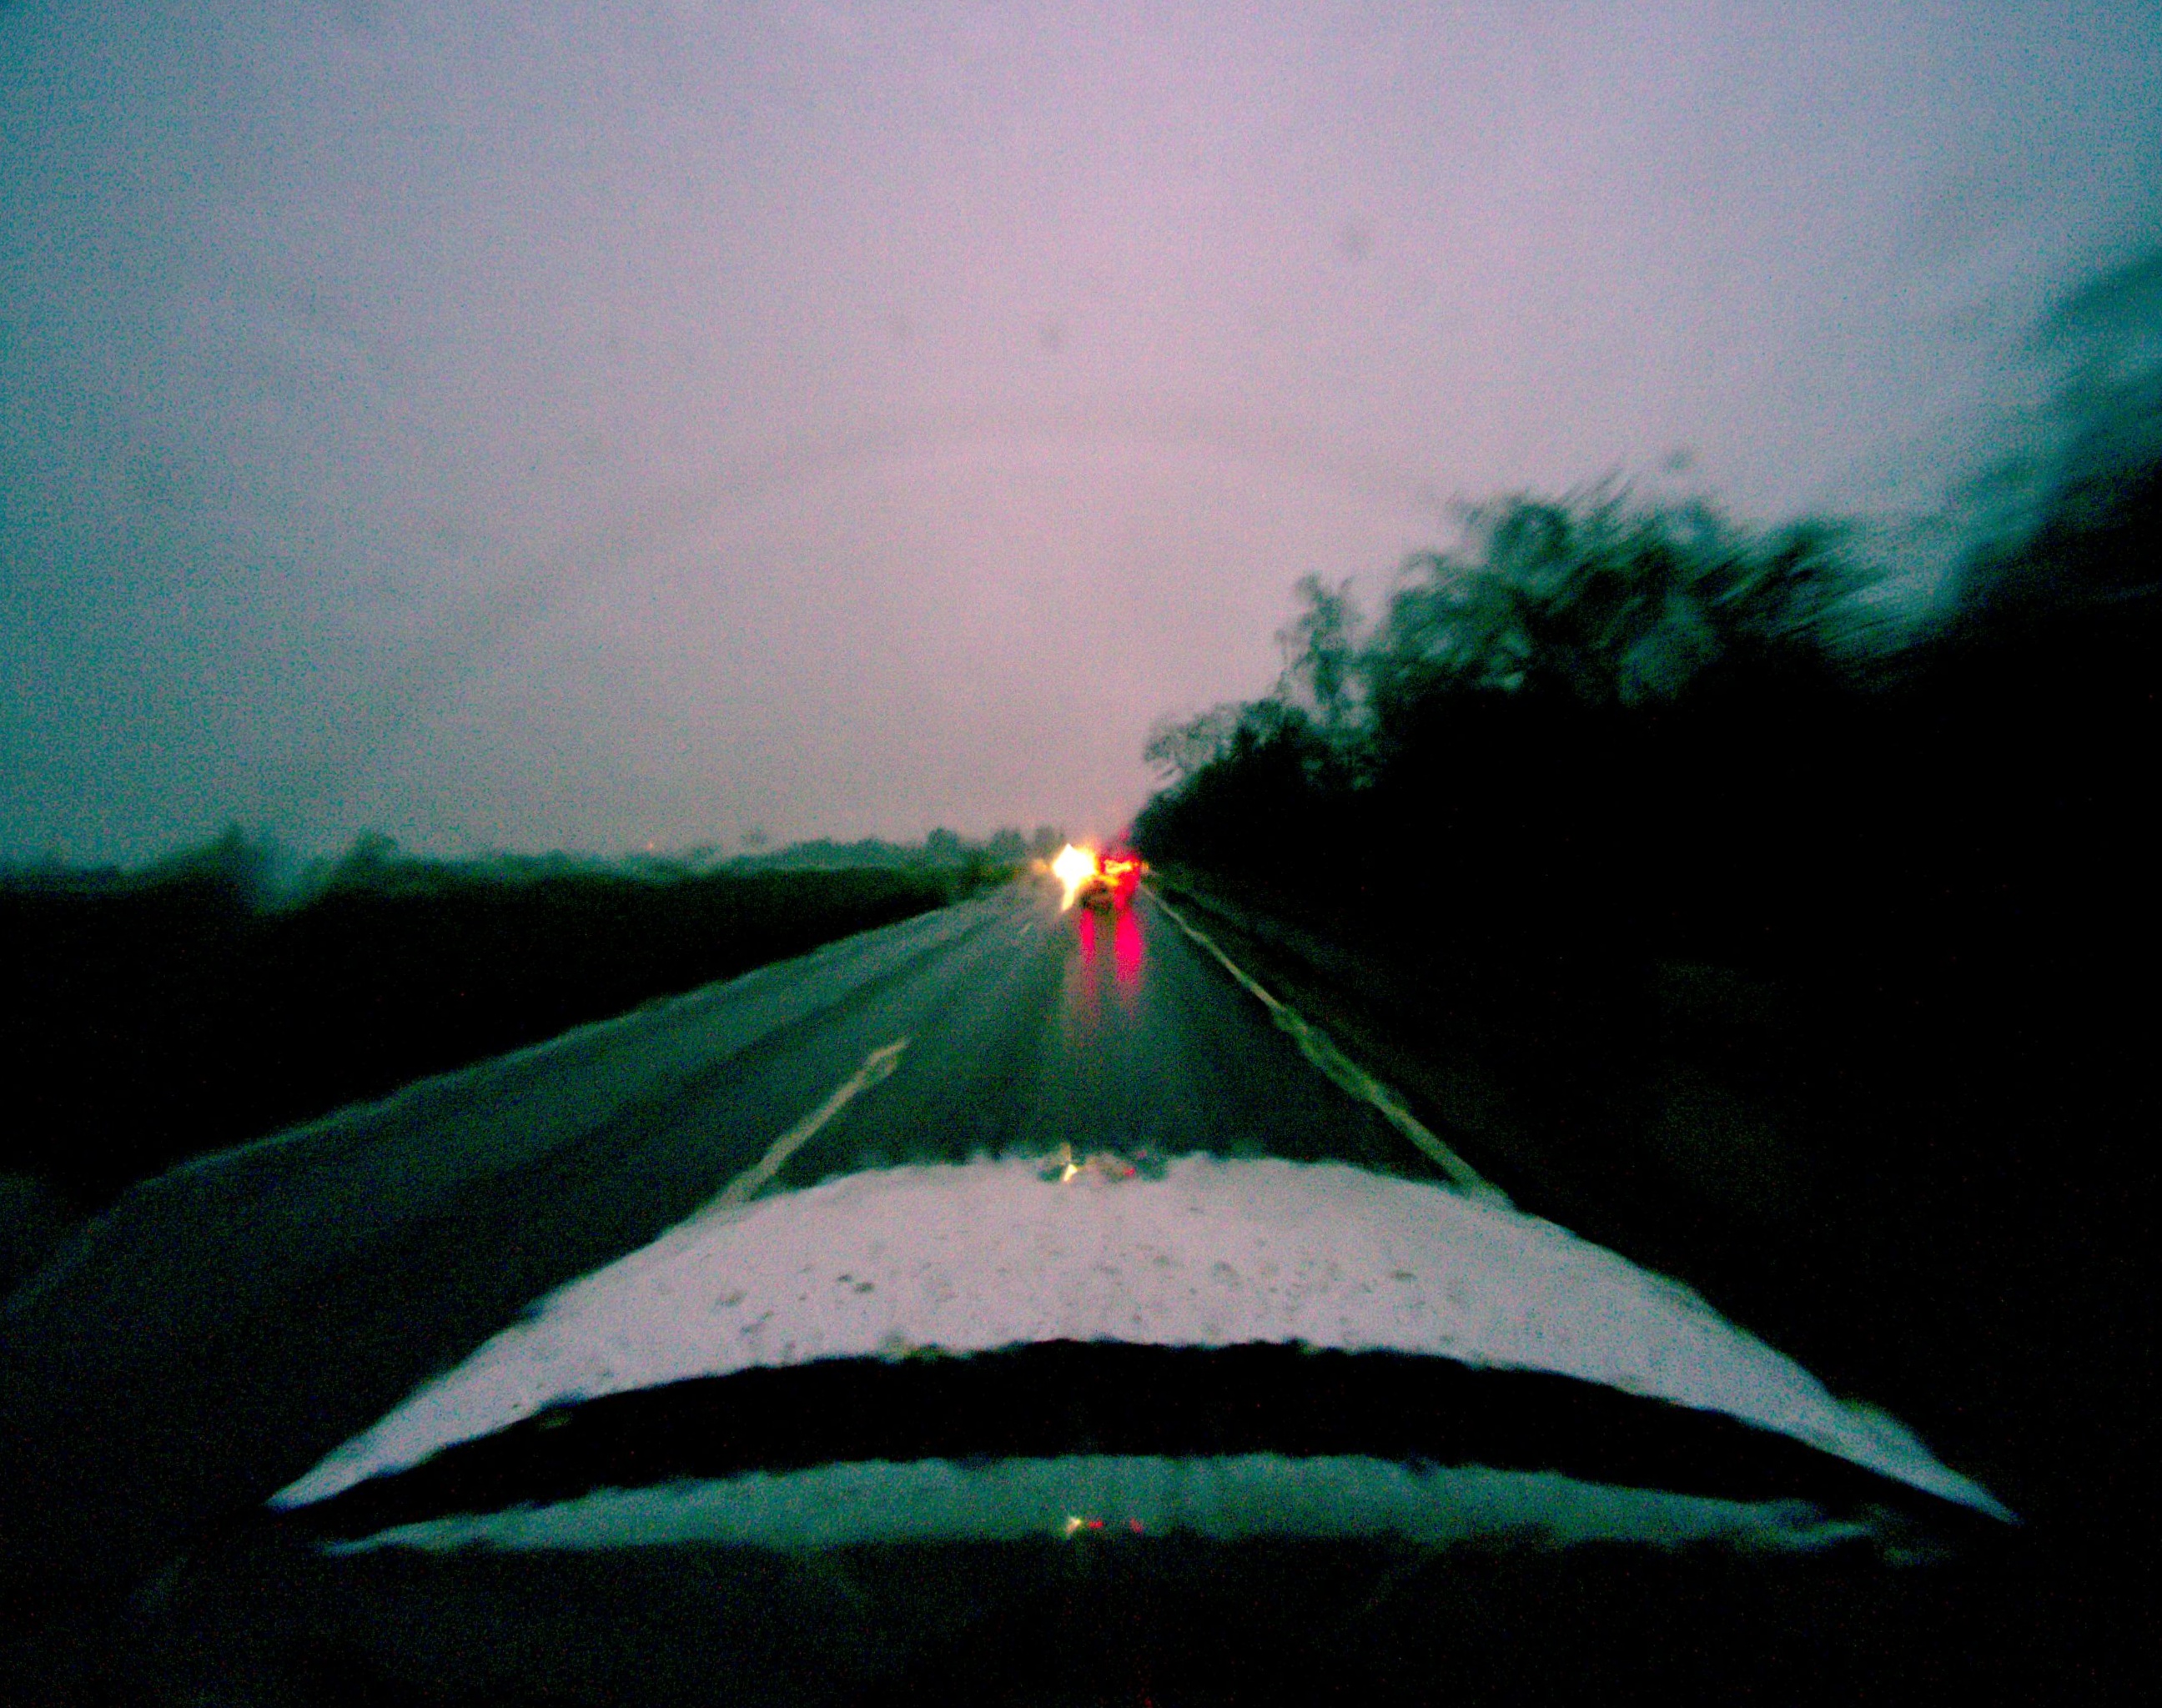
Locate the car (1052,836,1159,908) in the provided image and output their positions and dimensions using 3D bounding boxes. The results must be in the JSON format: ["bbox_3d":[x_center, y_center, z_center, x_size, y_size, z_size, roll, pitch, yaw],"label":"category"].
[{"bbox_3d":[0.844,0.531,27.703,3.153,2.035,6.854,-2,0,2],"label":"car"}]

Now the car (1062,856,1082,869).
[{"bbox_3d":[-0.958,0.888,89.417,1.986,1.372,4.399,0,0,1],"label":"car"}]

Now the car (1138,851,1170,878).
[{"bbox_3d":[4.917,0.685,55.348,1.921,1.750,4.001,0,-1,1],"label":"car"}]
